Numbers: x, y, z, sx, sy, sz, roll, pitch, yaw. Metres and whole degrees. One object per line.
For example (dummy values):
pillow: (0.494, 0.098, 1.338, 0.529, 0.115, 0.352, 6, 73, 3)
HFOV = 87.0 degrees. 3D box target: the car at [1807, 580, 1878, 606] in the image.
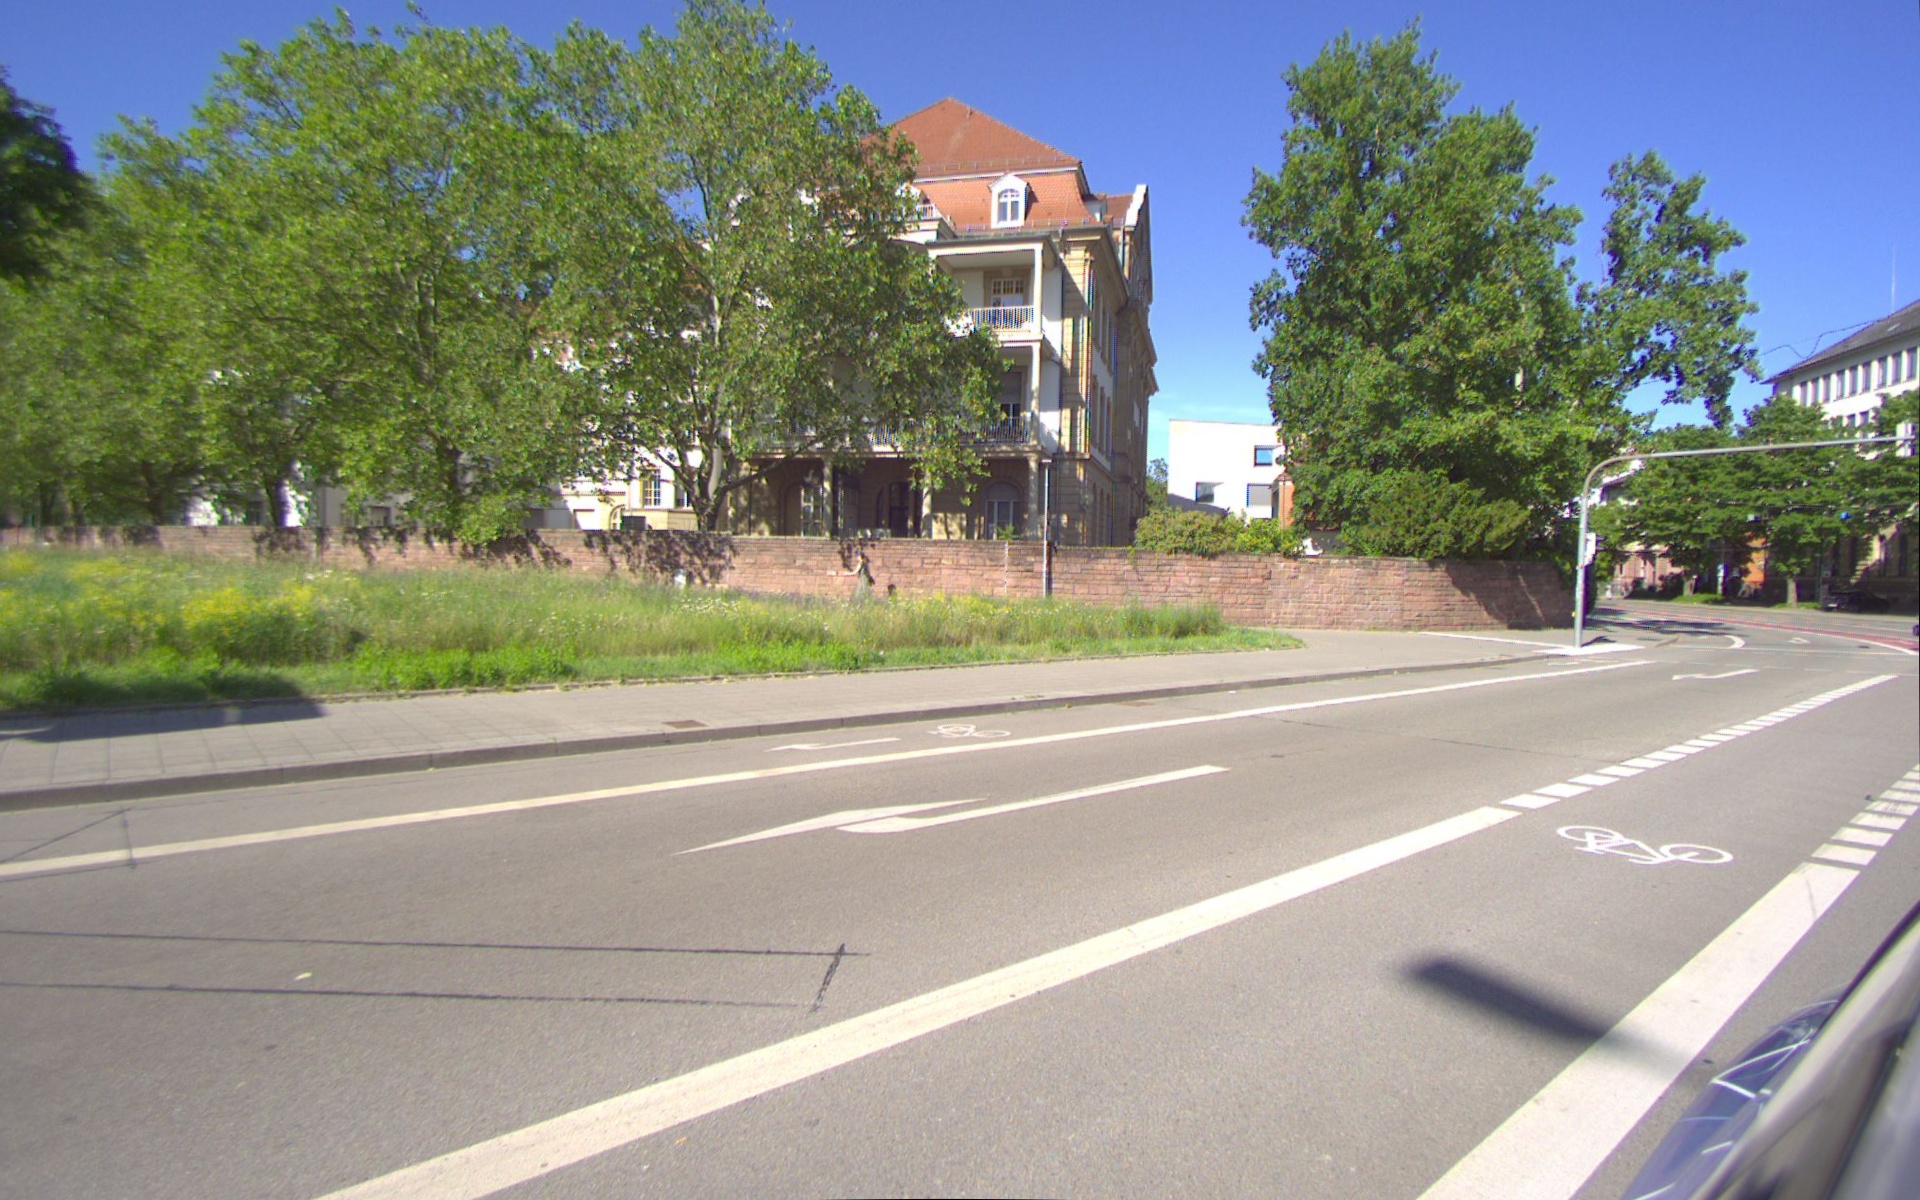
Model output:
car: (60.059, -0.519, 68.978, 1.806, 1.615, 3.988, 2, 2, 11)

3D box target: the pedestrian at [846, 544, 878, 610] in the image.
pedestrian: (-2.857, -0.669, 29.577, 0.774, 1.881, 0.629, 1, 1, 10)
